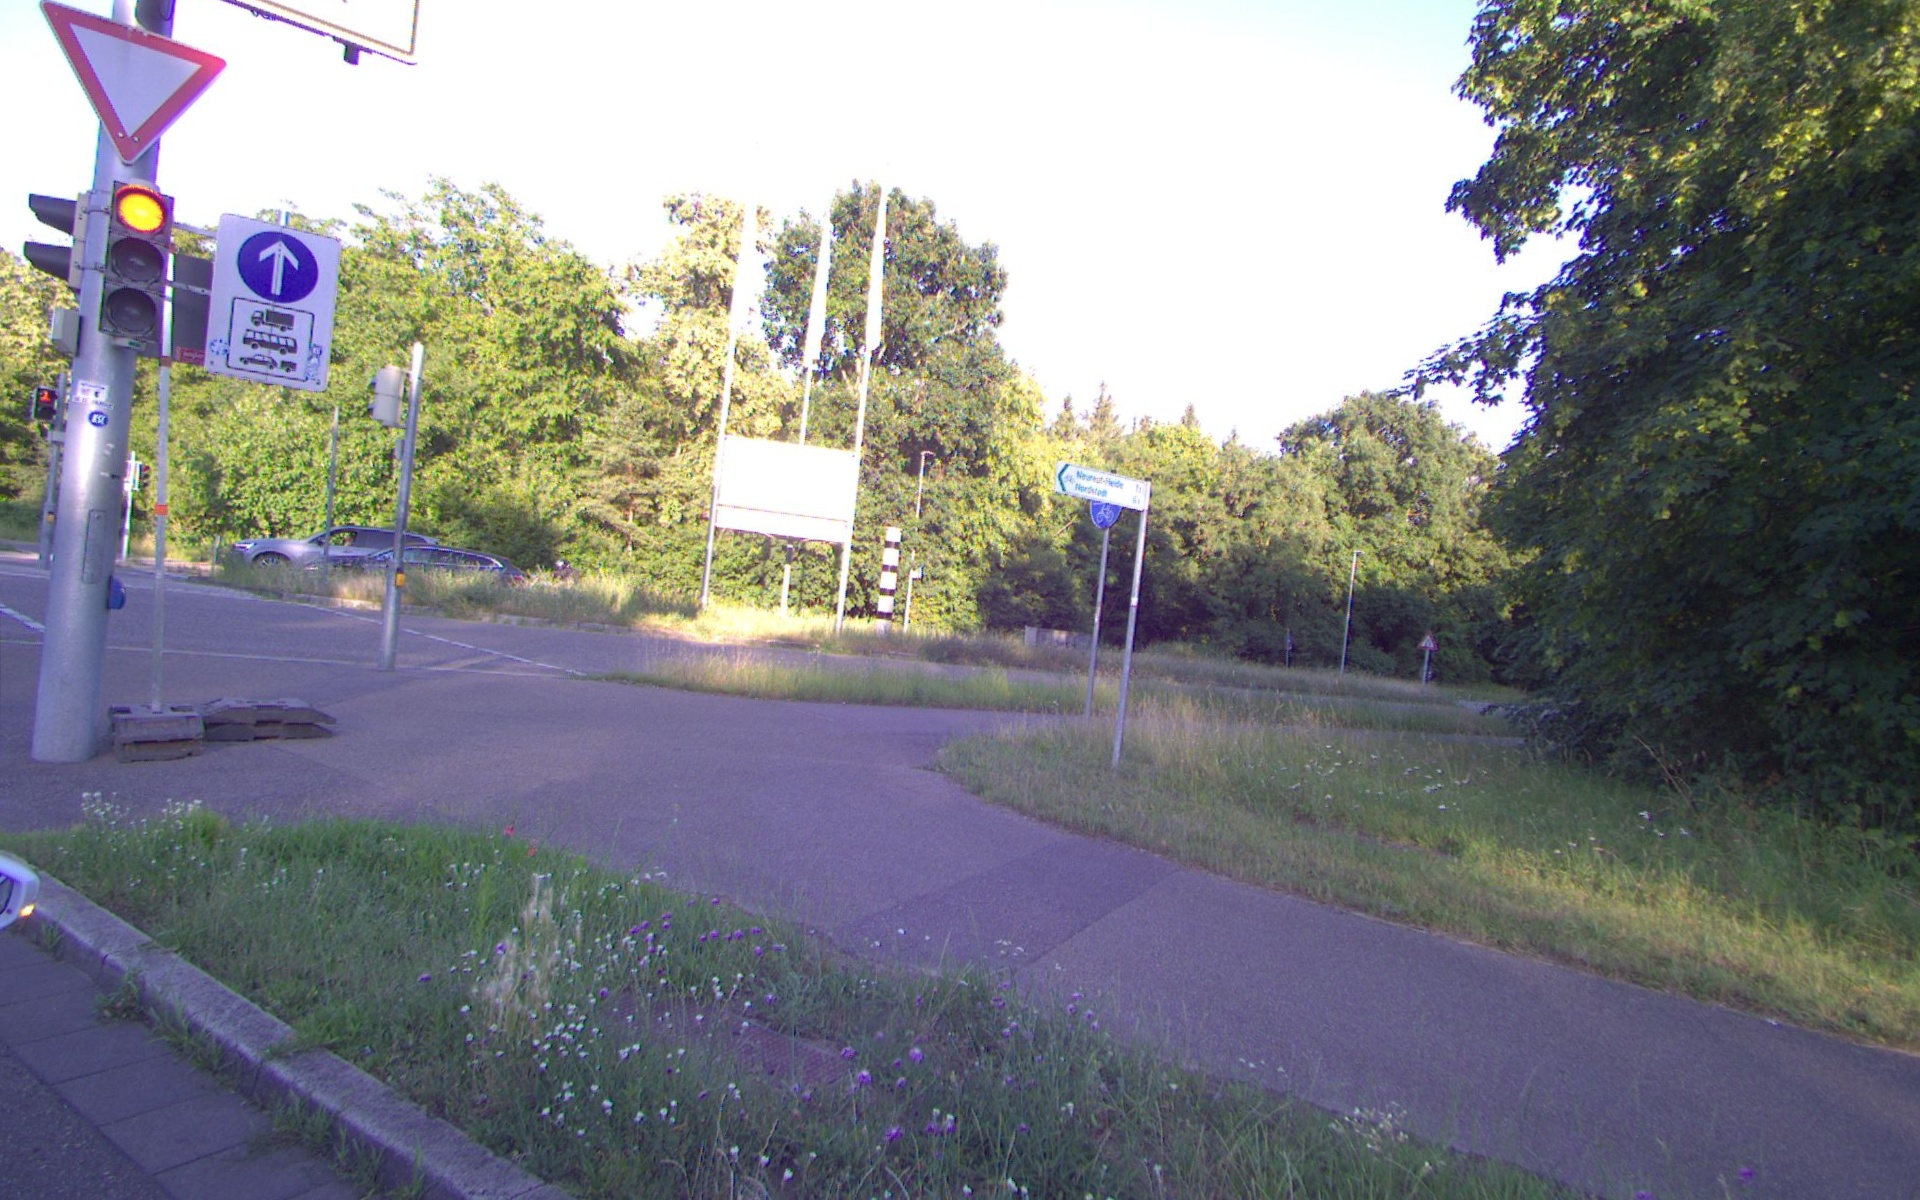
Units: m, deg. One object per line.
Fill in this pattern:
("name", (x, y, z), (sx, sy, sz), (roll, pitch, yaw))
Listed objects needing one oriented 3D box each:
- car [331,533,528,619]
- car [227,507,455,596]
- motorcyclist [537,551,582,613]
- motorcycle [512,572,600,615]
("car", (-12.565, -0.553, 23.913), (3.840, 1.507, 1.754), (7, -1, -36))
("car", (-15.923, -1.210, 26.000), (4.790, 1.618, 1.980), (7, 0, -37))
("motorcyclist", (-11.191, -0.512, 28.097), (0.881, 1.614, 0.648), (6, 0, -37))
("motorcycle", (-11.265, -0.173, 28.082), (2.133, 0.921, 0.655), (7, 0, -37))
